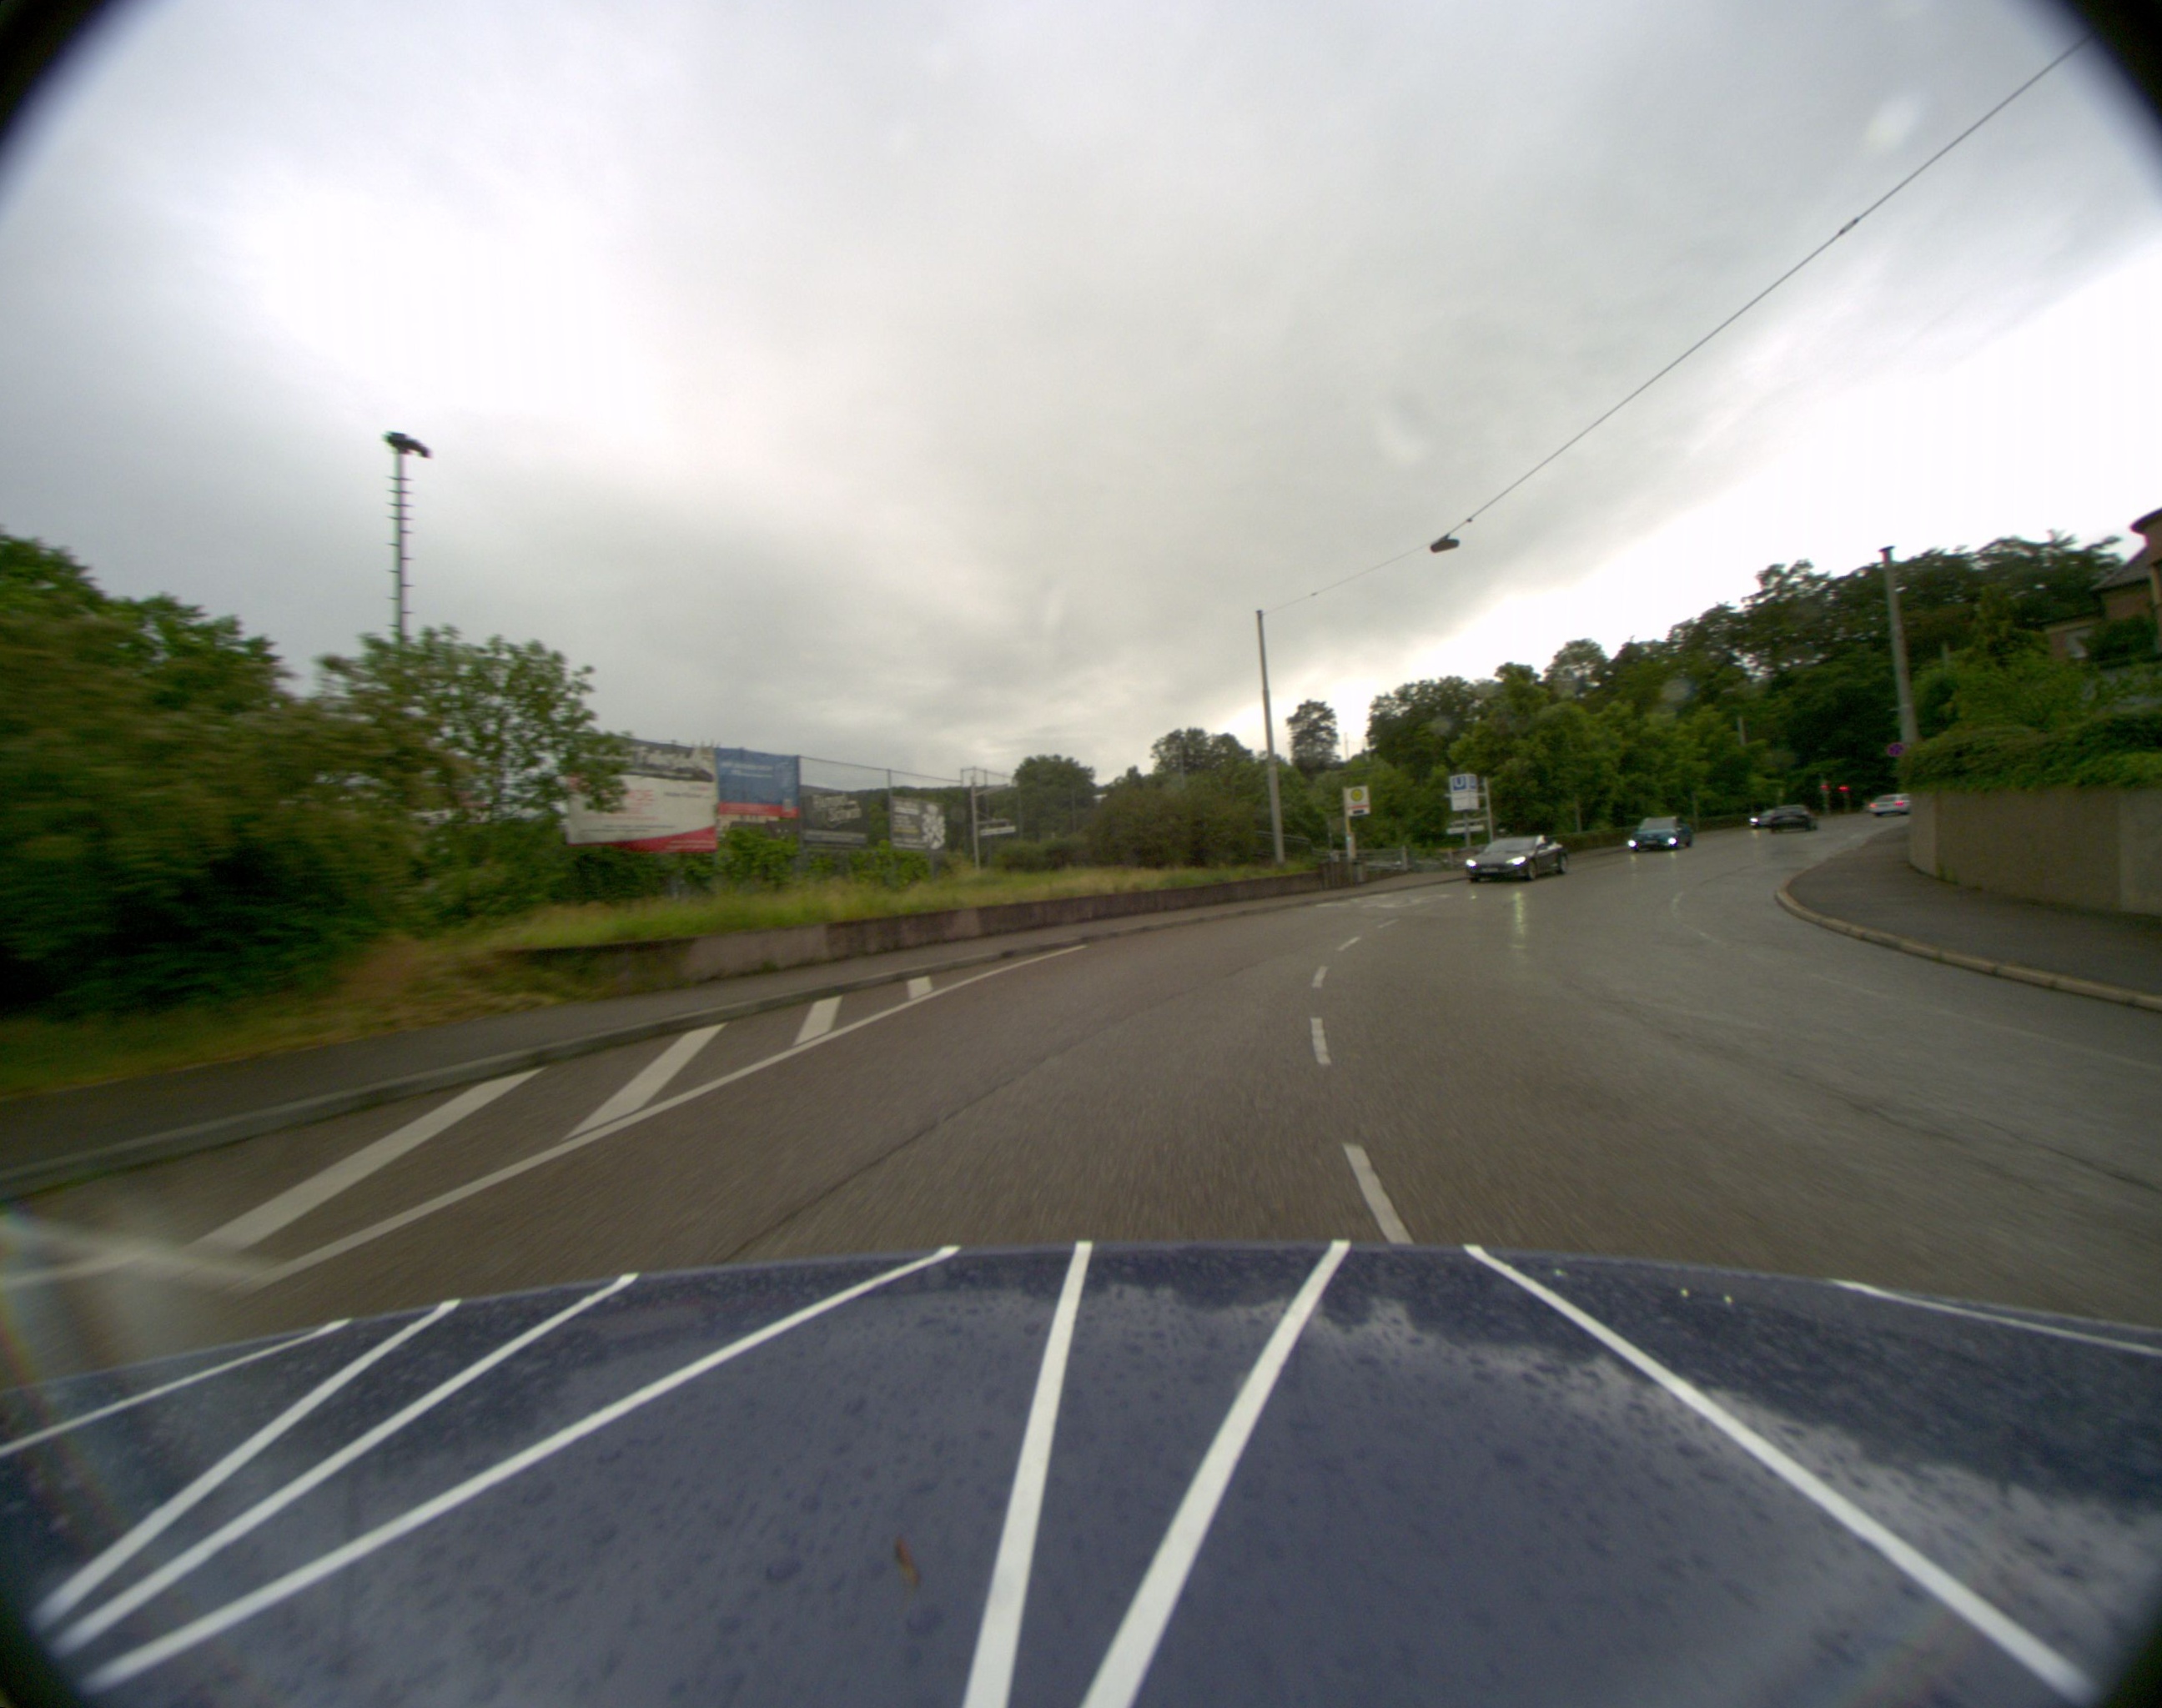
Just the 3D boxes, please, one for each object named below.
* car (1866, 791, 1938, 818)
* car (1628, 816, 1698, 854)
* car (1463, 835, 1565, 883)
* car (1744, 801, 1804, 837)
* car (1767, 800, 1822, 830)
[{"bbox_3d":[57.468,-3.479,53.212,4.444,1.465,1.850,-5,1,-21],"label":"car"},{"bbox_3d":[28.407,-0.879,37.045,4.050,1.599,1.798,0,-5,-40],"label":"car"},{"bbox_3d":[14.500,0.137,25.359,1.832,1.384,4.332,-2,1,45],"label":"car"},{"bbox_3d":[48.810,-2.439,53.529,4.008,1.999,1.996,4,-7,-32],"label":"car"},{"bbox_3d":[41.783,-2.296,44.467,3.982,1.511,1.769,-4,0,-40],"label":"car"}]
